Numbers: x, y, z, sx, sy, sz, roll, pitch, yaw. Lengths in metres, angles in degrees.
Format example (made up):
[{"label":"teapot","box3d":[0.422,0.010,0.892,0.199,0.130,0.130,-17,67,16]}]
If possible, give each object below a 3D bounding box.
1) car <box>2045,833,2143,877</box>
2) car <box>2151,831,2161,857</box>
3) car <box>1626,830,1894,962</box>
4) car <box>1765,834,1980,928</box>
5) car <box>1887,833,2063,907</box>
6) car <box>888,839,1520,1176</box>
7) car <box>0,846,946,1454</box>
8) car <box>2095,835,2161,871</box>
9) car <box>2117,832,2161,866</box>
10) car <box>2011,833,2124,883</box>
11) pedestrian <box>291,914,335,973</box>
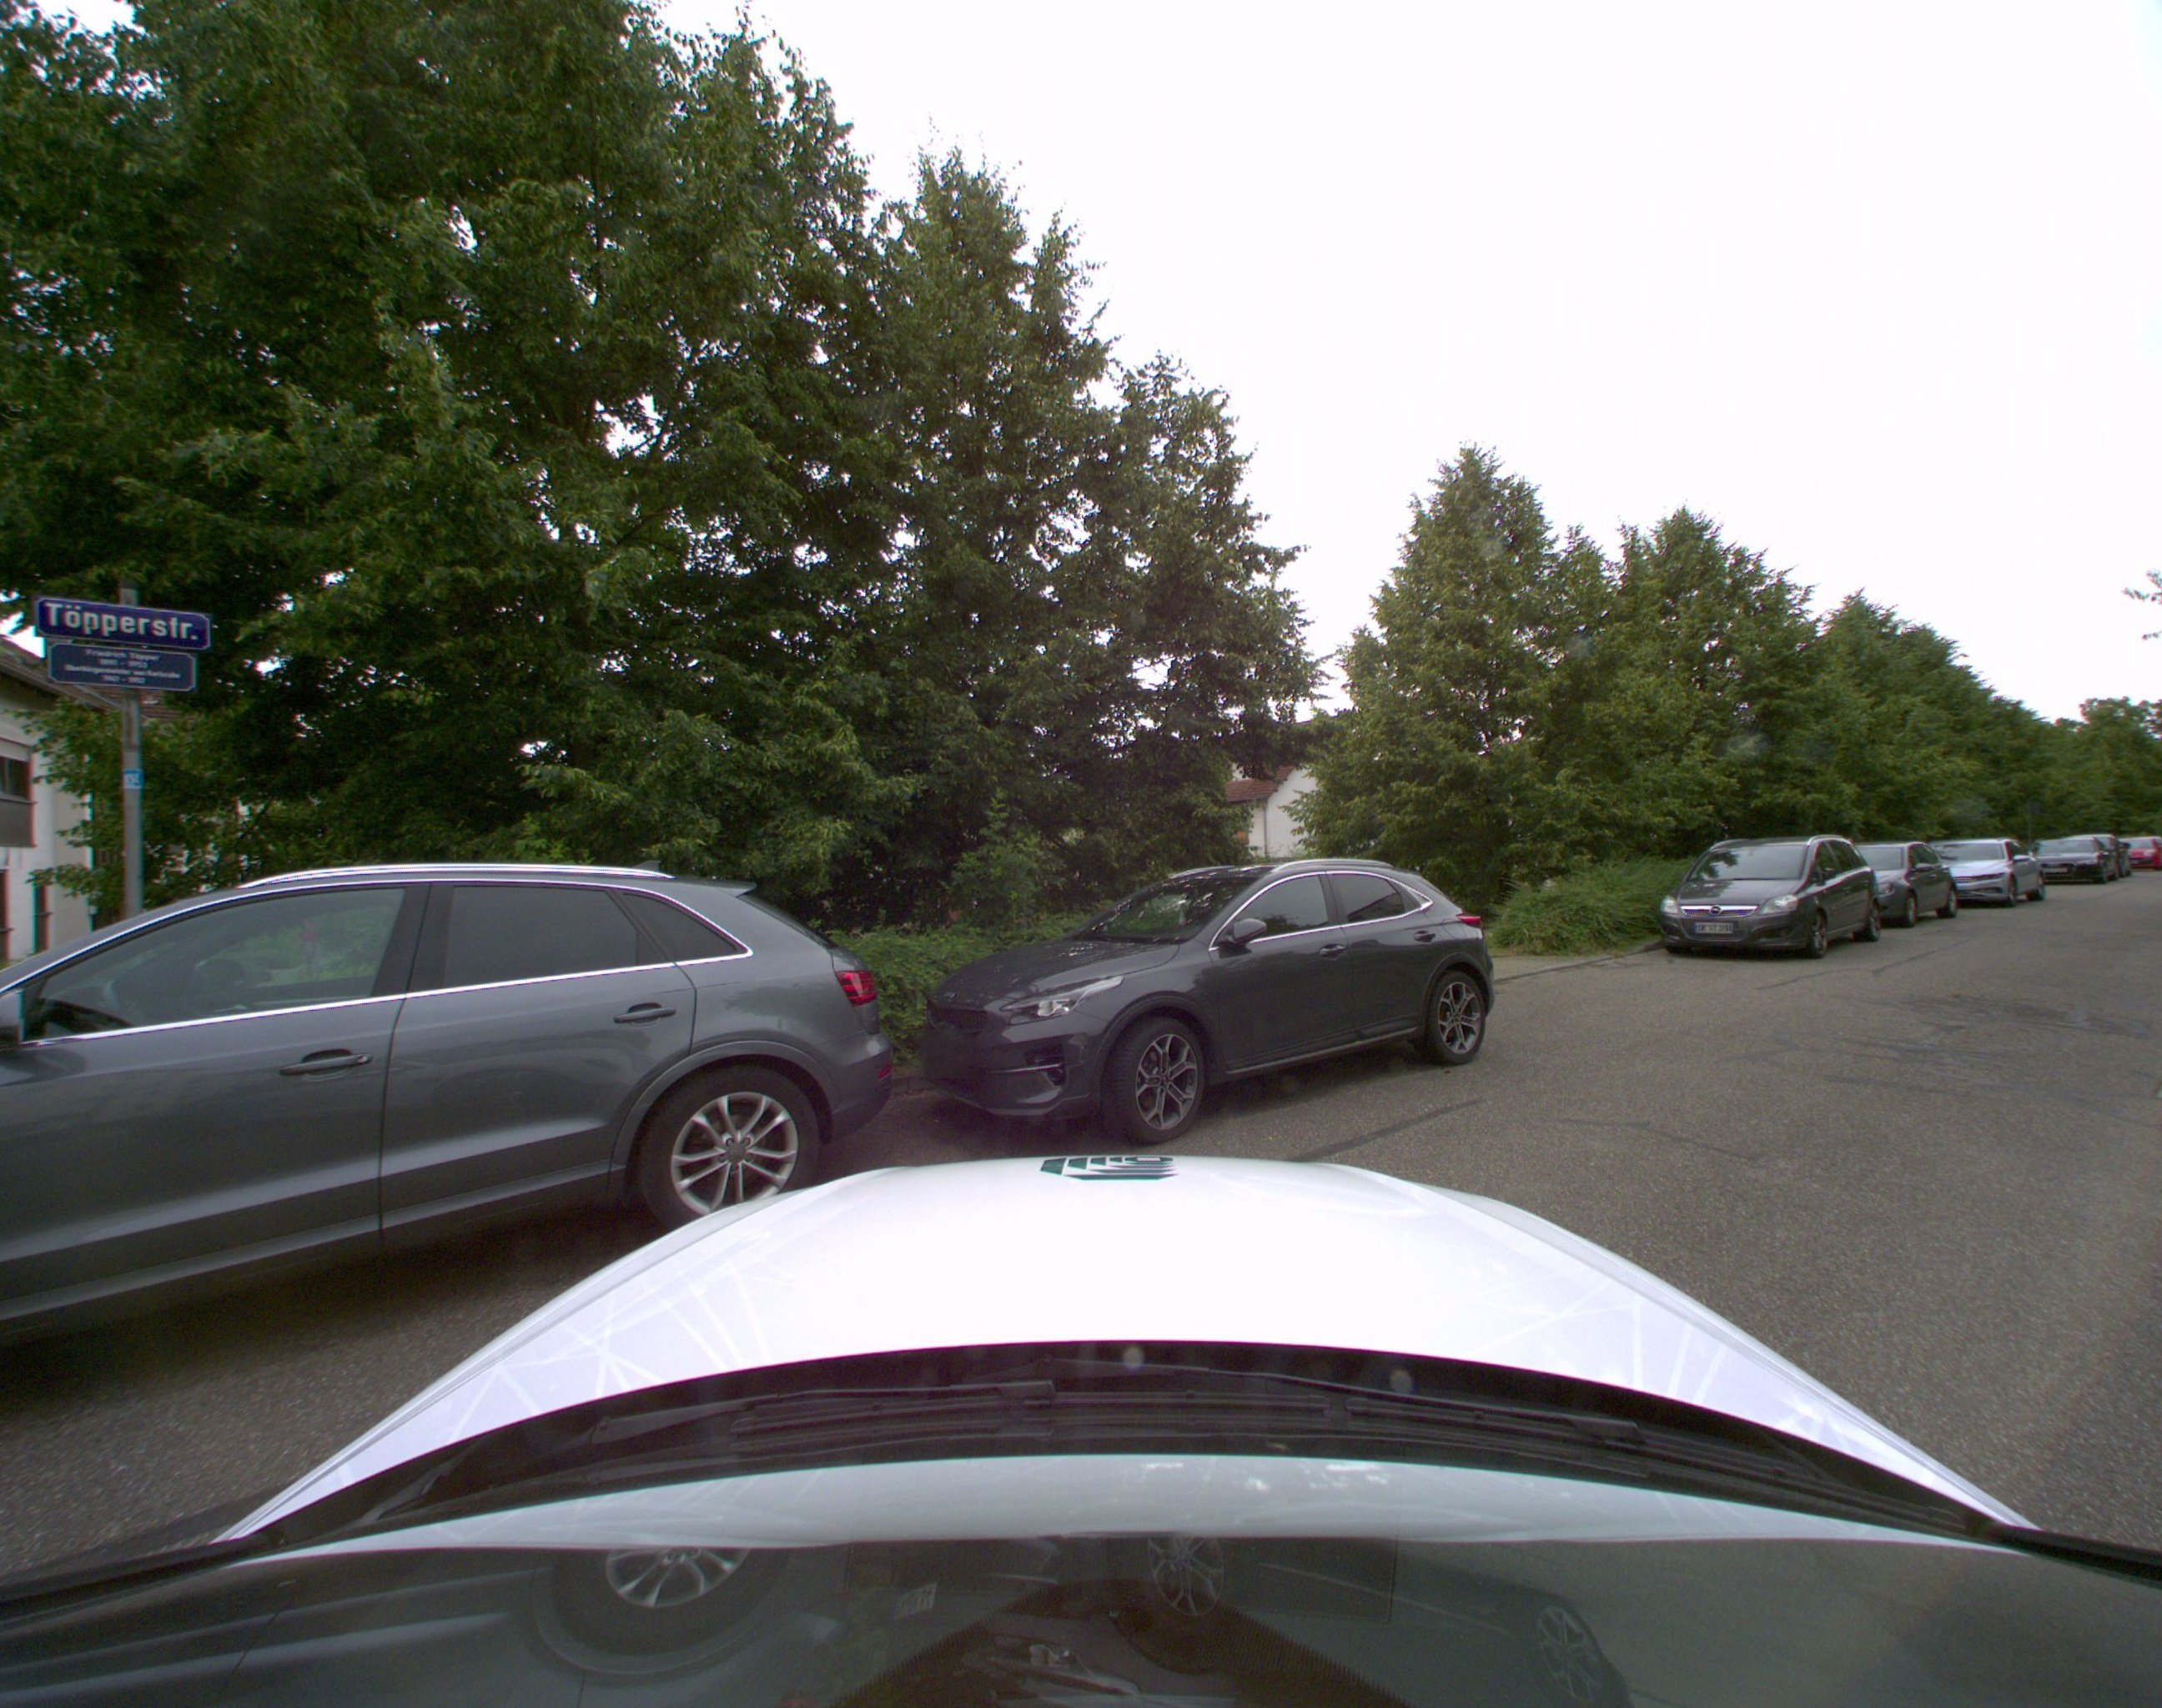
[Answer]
[{"label":"car","box3d":[36.795,0.038,29.559,4.015,1.425,1.739,-1,-2,-33]},{"label":"car","box3d":[65.541,-0.642,48.596,4.015,1.519,1.739,-2,0,-33]},{"label":"car","box3d":[10.037,0.522,11.934,4.571,1.594,1.744,-1,-2,-34]},{"label":"car","box3d":[14.615,0.451,14.989,4.320,1.479,1.745,-2,-2,-31]},{"label":"car","box3d":[19.933,0.330,18.123,4.493,1.428,1.764,-2,-2,-31]},{"label":"car","box3d":[0.995,0.737,5.694,4.210,1.531,1.729,-1,-2,-32]},{"label":"car","box3d":[-2.863,0.809,3.150,4.270,1.531,1.728,-1,-2,-37]},{"label":"car","box3d":[46.642,-0.071,36.020,4.015,1.425,1.739,-1,-2,-33]},{"label":"car","box3d":[51.096,-0.273,38.783,4.015,1.519,1.739,-1,-2,-33]},{"label":"car","box3d":[31.102,0.115,25.647,4.015,1.425,1.739,-1,-2,-33]},{"label":"pedestrian","box3d":[-21.308,2.466,22.595,0.822,1.517,0.433,-2,-1,-39]}]
